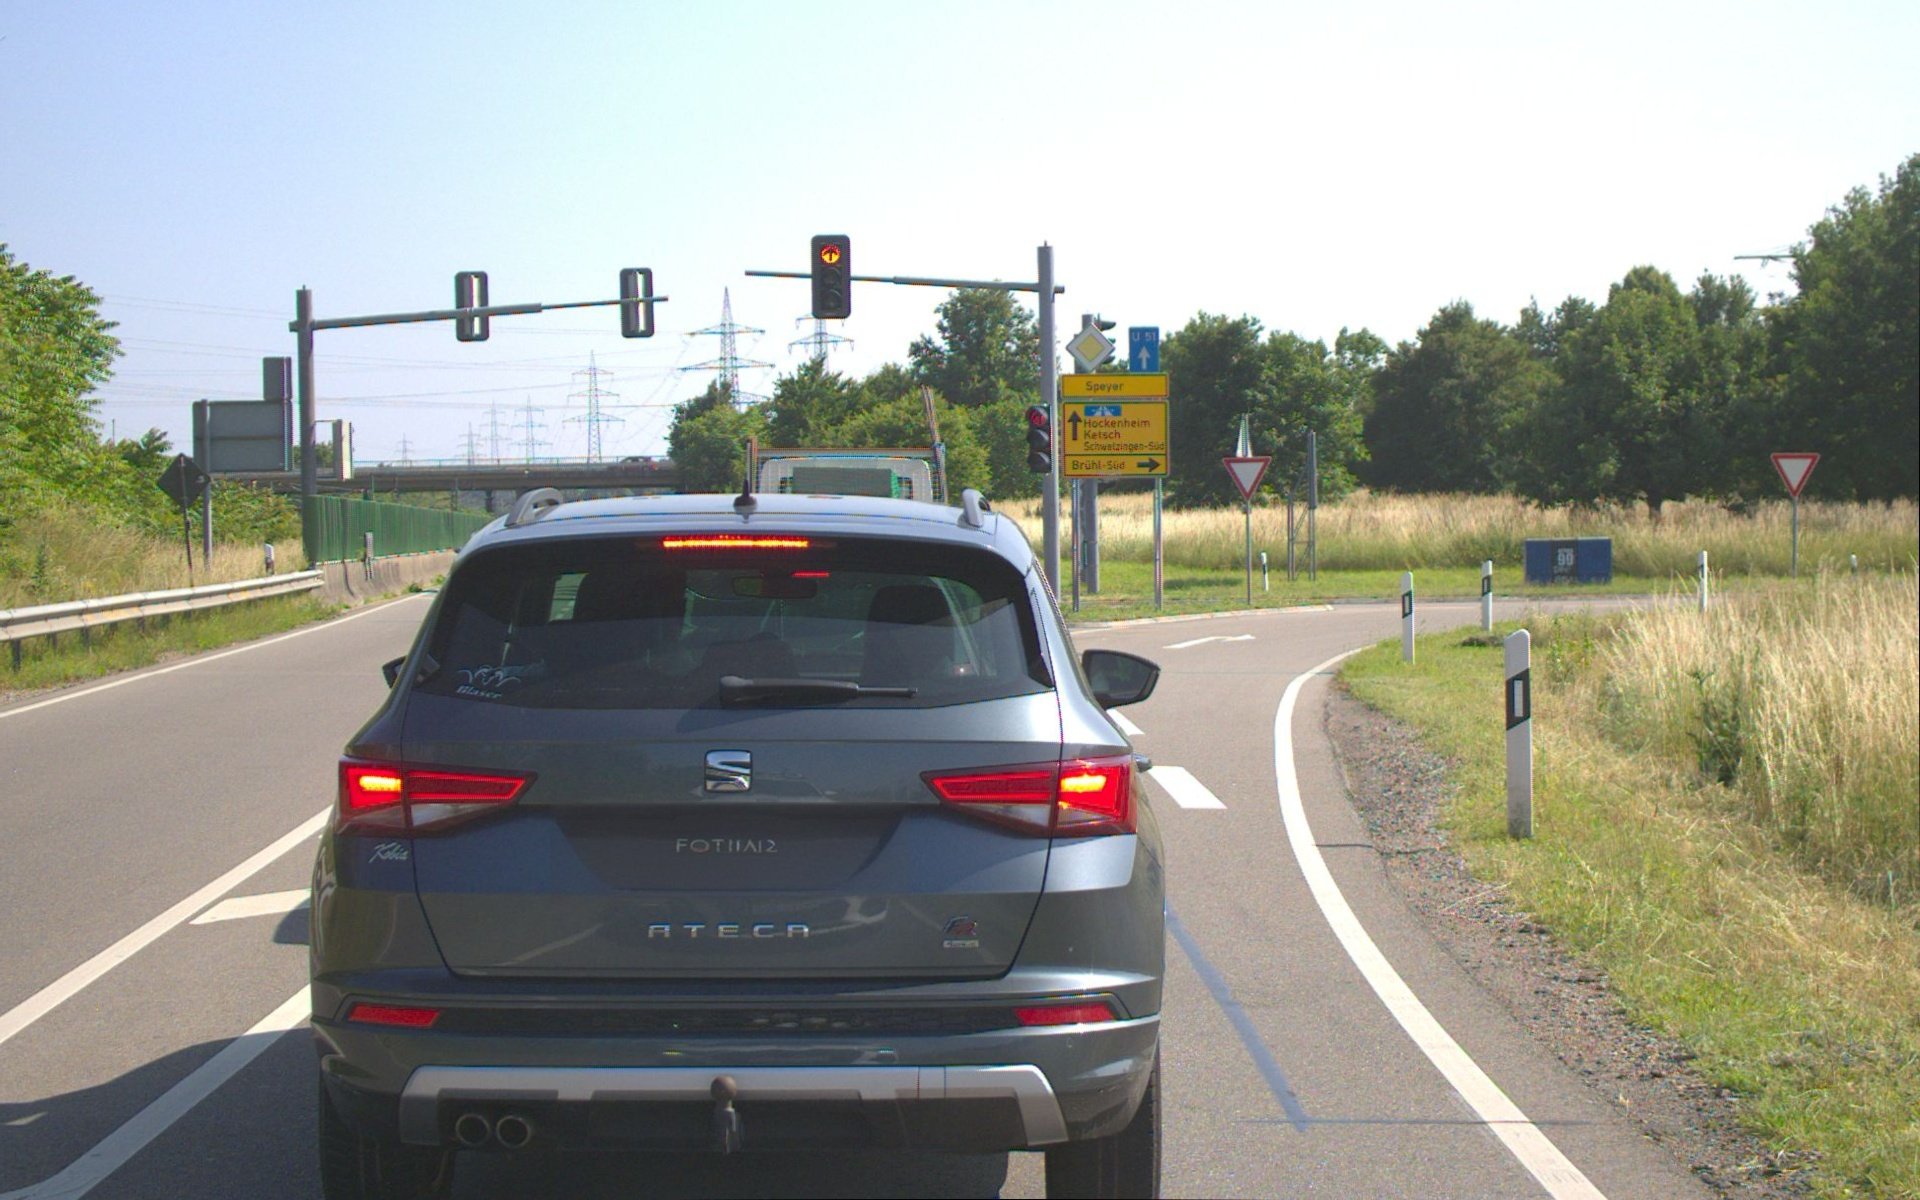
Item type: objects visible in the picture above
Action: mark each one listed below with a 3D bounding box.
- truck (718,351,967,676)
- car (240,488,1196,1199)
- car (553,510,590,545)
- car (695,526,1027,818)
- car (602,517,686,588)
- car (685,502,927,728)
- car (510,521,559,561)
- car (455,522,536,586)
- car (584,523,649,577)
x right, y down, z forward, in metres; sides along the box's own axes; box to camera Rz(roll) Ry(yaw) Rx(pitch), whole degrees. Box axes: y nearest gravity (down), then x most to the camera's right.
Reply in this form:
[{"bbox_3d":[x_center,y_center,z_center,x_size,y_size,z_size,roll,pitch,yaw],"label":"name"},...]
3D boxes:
[{"bbox_3d":[-1.197,-0.851,35.284,2.337,3.055,5.810,0,1,-2],"label":"truck"},{"bbox_3d":[-0.554,0.553,8.498,1.785,1.623,4.001,-1,2,-3],"label":"car"},{"bbox_3d":[-22.530,-4.224,199.176,1.963,1.945,4.998,-1,2,-8],"label":"car"},{"bbox_3d":[-0.641,0.346,20.679,1.785,1.538,4.001,-1,2,-3],"label":"car"},{"bbox_3d":[-7.270,-1.111,78.887,1.816,1.535,4.001,-1,2,-6],"label":"car"},{"bbox_3d":[-1.255,0.053,27.656,1.785,1.670,4.001,-1,2,-3],"label":"car"},{"bbox_3d":[-15.730,-2.189,127.194,1.761,1.426,4.001,-1,2,-7],"label":"car"},{"bbox_3d":[-11.039,-1.116,81.838,1.824,1.426,4.001,-1,2,-7],"label":"car"},{"bbox_3d":[-9.133,-1.337,91.364,1.684,1.375,3.534,0,2,-6],"label":"car"}]
